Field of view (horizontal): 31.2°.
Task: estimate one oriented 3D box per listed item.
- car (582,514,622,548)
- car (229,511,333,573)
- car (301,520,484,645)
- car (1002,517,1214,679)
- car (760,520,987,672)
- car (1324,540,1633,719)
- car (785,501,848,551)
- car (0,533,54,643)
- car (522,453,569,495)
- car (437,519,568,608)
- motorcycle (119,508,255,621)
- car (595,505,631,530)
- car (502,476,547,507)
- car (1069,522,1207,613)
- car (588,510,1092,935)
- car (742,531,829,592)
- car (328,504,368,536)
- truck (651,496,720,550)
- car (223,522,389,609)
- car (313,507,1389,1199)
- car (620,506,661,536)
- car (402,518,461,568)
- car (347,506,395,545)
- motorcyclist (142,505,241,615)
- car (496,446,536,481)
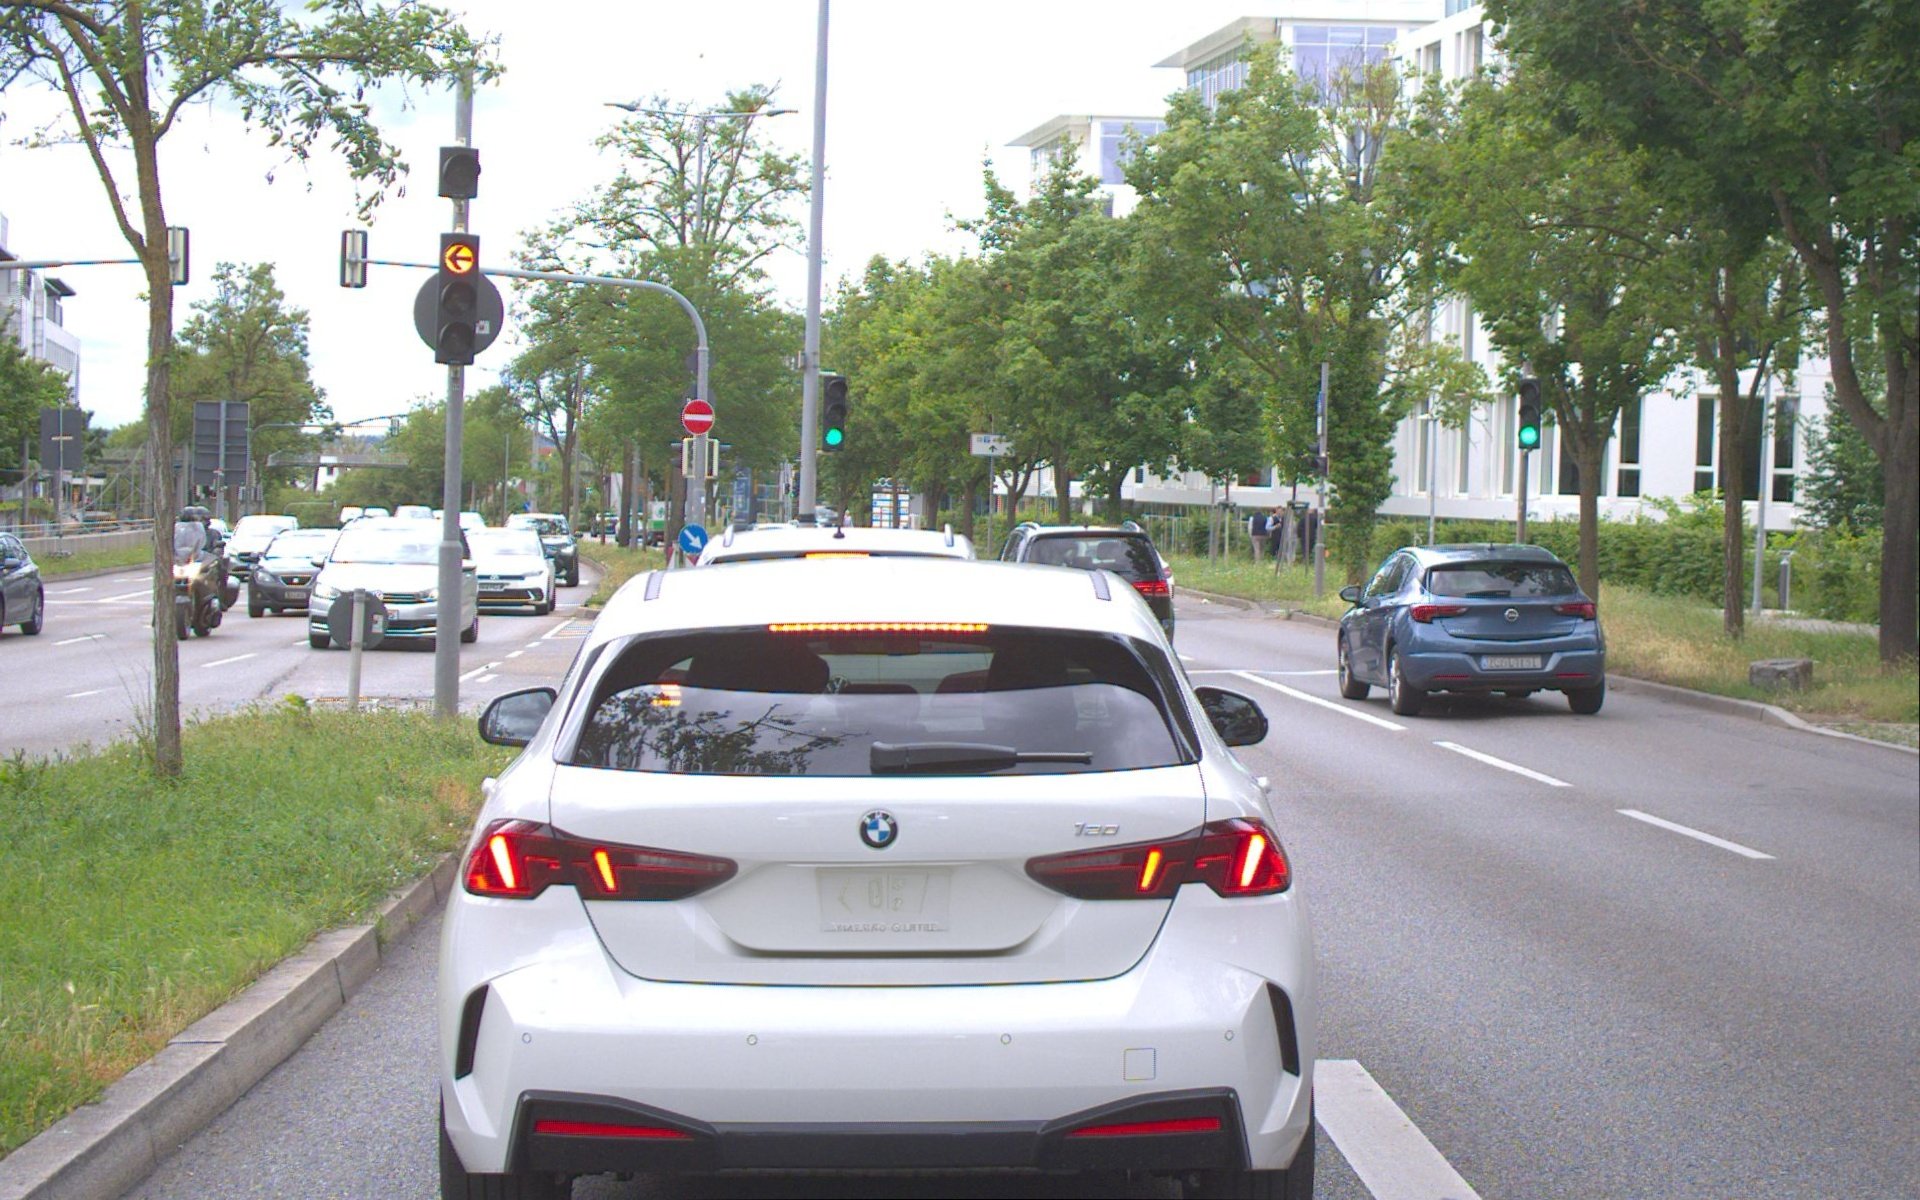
[{"bbox_3d":[-22.013,-4.227,211.481,1.993,2.007,4.000,1,1,-1],"label":"car"},{"bbox_3d":[-15.877,-1.371,80.519,1.708,1.414,3.803,0,1,-1],"label":"car"},{"bbox_3d":[-7.077,-0.246,43.193,1.708,1.492,3.803,0,1,-1],"label":"car"},{"bbox_3d":[1.515,-0.062,36.838,1.966,1.635,4.313,0,1,-2],"label":"car"},{"bbox_3d":[-0.871,-0.059,37.177,1.994,1.503,3.999,1,1,5],"label":"car"},{"bbox_3d":[4.502,0.206,30.467,1.967,1.434,4.313,-1,1,-2],"label":"car"},{"bbox_3d":[-4.870,-2.501,116.282,1.993,1.590,4.001,1,1,-3],"label":"car"},{"bbox_3d":[-13.164,-0.171,44.856,1.708,1.414,3.803,0,1,-1],"label":"car"},{"bbox_3d":[-20.981,-6.382,174.272,1.993,2.004,4.325,3,1,-3],"label":"car"},{"bbox_3d":[-7.631,-0.626,57.635,1.667,1.400,4.000,1,1,-1],"label":"car"},{"bbox_3d":[-10.081,-0.482,45.006,0.889,1.393,4.000,1,1,-1],"label":"motorcycle"},{"bbox_3d":[-21.702,-5.137,214.774,1.993,1.503,4.001,1,1,-9],"label":"car"},{"bbox_3d":[-24.223,-6.021,191.247,1.993,1.612,4.000,3,1,-1],"label":"car"},{"bbox_3d":[3.040,-0.577,59.555,1.793,1.467,4.700,1,1,-4],"label":"car"},{"bbox_3d":[-0.477,0.470,15.845,1.993,1.666,4.000,1,1,0],"label":"car"},{"bbox_3d":[-4.844,-1.085,94.895,2.053,1.481,4.974,-3,2,-6],"label":"car"},{"bbox_3d":[-39.298,-5.141,220.785,1.993,2.004,4.325,1,1,-3],"label":"car"},{"bbox_3d":[-13.371,-3.733,167.031,2.858,2.511,6.289,1,1,-8],"label":"truck"},{"bbox_3d":[-10.728,-0.590,56.645,1.993,1.349,4.000,1,1,-1],"label":"car"},{"bbox_3d":[-0.137,0.559,8.029,1.863,1.444,4.000,1,1,2],"label":"car"},{"bbox_3d":[-16.988,-4.208,182.850,1.993,1.503,4.001,1,1,-8],"label":"car"},{"bbox_3d":[-22.036,-2.373,143.408,1.993,2.004,4.325,1,1,-3],"label":"car"},{"bbox_3d":[-30.876,-3.915,180.251,1.993,2.004,4.325,1,1,-3],"label":"car"},{"bbox_3d":[-10.065,-0.533,45.061,0.910,1.387,1.674,1,1,-1],"label":"motorcyclist"},{"bbox_3d":[-28.000,-8.617,216.885,1.993,2.007,4.000,3,1,-1],"label":"car"}]
